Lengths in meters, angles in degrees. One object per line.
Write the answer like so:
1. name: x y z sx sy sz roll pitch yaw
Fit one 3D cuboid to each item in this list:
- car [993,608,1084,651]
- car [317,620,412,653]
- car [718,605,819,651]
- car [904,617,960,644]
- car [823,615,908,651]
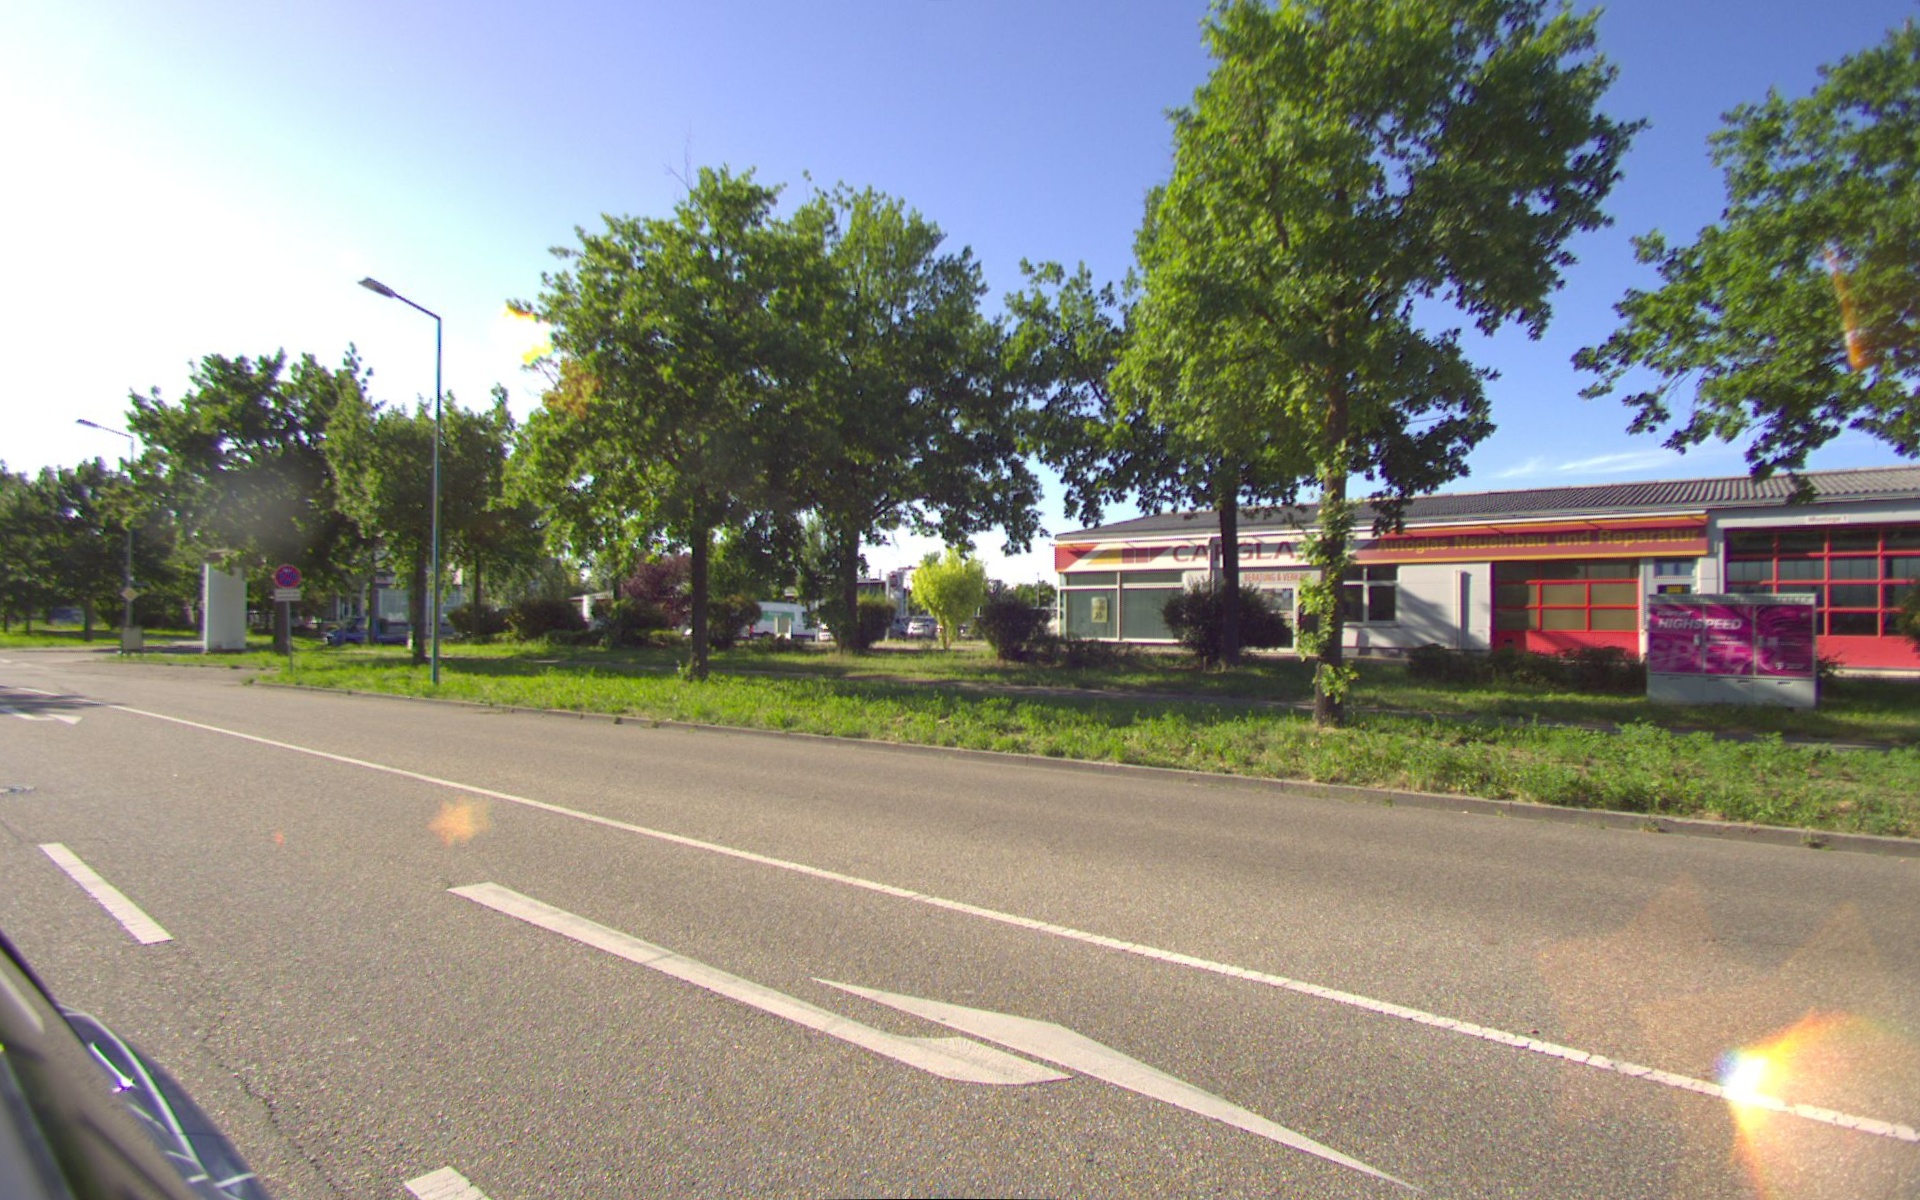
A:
1. car: 3.204 1.163 40.604 1.734 1.583 3.769 -3 -1 40
2. car: -35.981 2.160 61.230 1.999 1.847 4.578 -1 0 41
3. car: -11.463 1.606 60.998 2.406 2.574 5.952 -1 0 36
4. car: -1.882 2.060 68.621 1.761 1.684 3.811 -1 0 40
5. car: -5.156 1.776 55.787 1.989 1.795 4.583 -1 0 40
